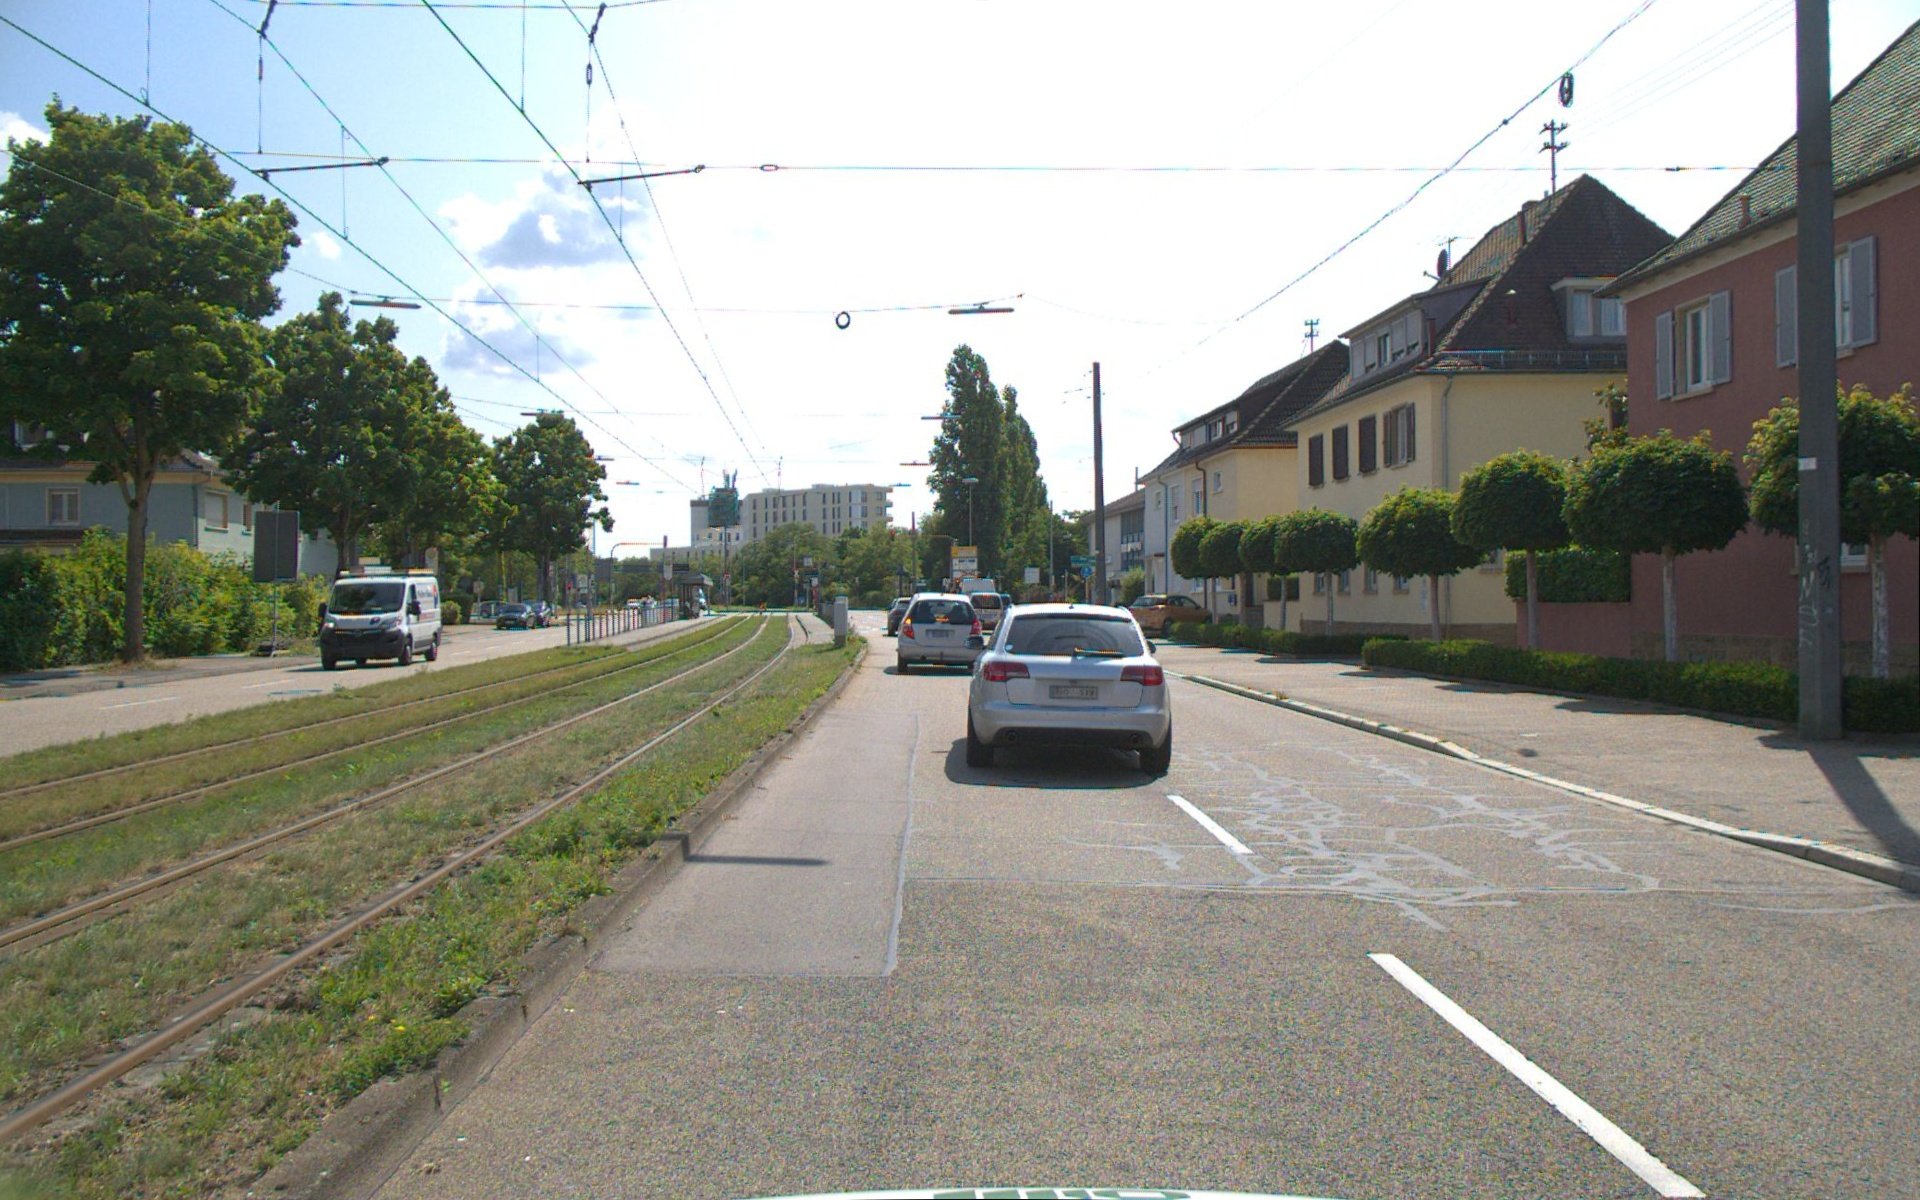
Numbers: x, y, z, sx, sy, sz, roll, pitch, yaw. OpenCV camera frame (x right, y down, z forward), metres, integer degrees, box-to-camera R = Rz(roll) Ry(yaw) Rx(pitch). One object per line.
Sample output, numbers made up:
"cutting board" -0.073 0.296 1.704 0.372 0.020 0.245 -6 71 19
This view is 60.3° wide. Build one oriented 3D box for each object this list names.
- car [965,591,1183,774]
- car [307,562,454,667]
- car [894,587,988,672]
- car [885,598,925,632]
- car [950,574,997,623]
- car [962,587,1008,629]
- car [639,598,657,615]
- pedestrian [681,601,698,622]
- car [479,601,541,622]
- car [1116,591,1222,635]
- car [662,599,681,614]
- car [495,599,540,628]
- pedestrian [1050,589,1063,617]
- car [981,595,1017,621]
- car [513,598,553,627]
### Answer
"car" 0.997 0.695 16.155 1.816 1.518 4.536 1 0 1
"car" -14.470 0.346 41.632 2.153 2.413 5.327 -2 0 -5
"car" -0.442 0.579 34.424 1.751 1.604 4.092 2 0 -3
"car" -2.670 0.705 79.913 1.847 1.557 4.092 1 -1 -3
"car" 0.703 -0.098 90.707 2.002 2.602 5.224 0 0 -6
"car" 1.123 0.346 73.138 1.845 1.761 4.096 -1 0 3
"car" -32.947 0.685 174.600 1.829 1.680 3.990 1 -1 -10
"pedestrian" -18.035 0.770 110.381 1.038 1.400 0.859 1 -1 -6
"car" -38.449 1.018 141.494 4.766 1.689 1.999 1 -1 -3
"car" 7.858 0.453 61.969 1.883 1.483 4.066 1 2 44
"car" -29.860 0.682 171.331 1.862 1.568 3.720 1 -1 -10
"car" -25.023 0.758 93.692 1.751 1.612 3.927 0 0 -4
"pedestrian" 6.400 0.212 109.848 0.707 1.814 0.702 -3 0 -4
"car" 2.610 0.544 111.208 1.849 1.665 4.088 1 -1 -6
"car" -25.754 0.741 99.876 2.024 1.642 4.740 -1 0 -11
